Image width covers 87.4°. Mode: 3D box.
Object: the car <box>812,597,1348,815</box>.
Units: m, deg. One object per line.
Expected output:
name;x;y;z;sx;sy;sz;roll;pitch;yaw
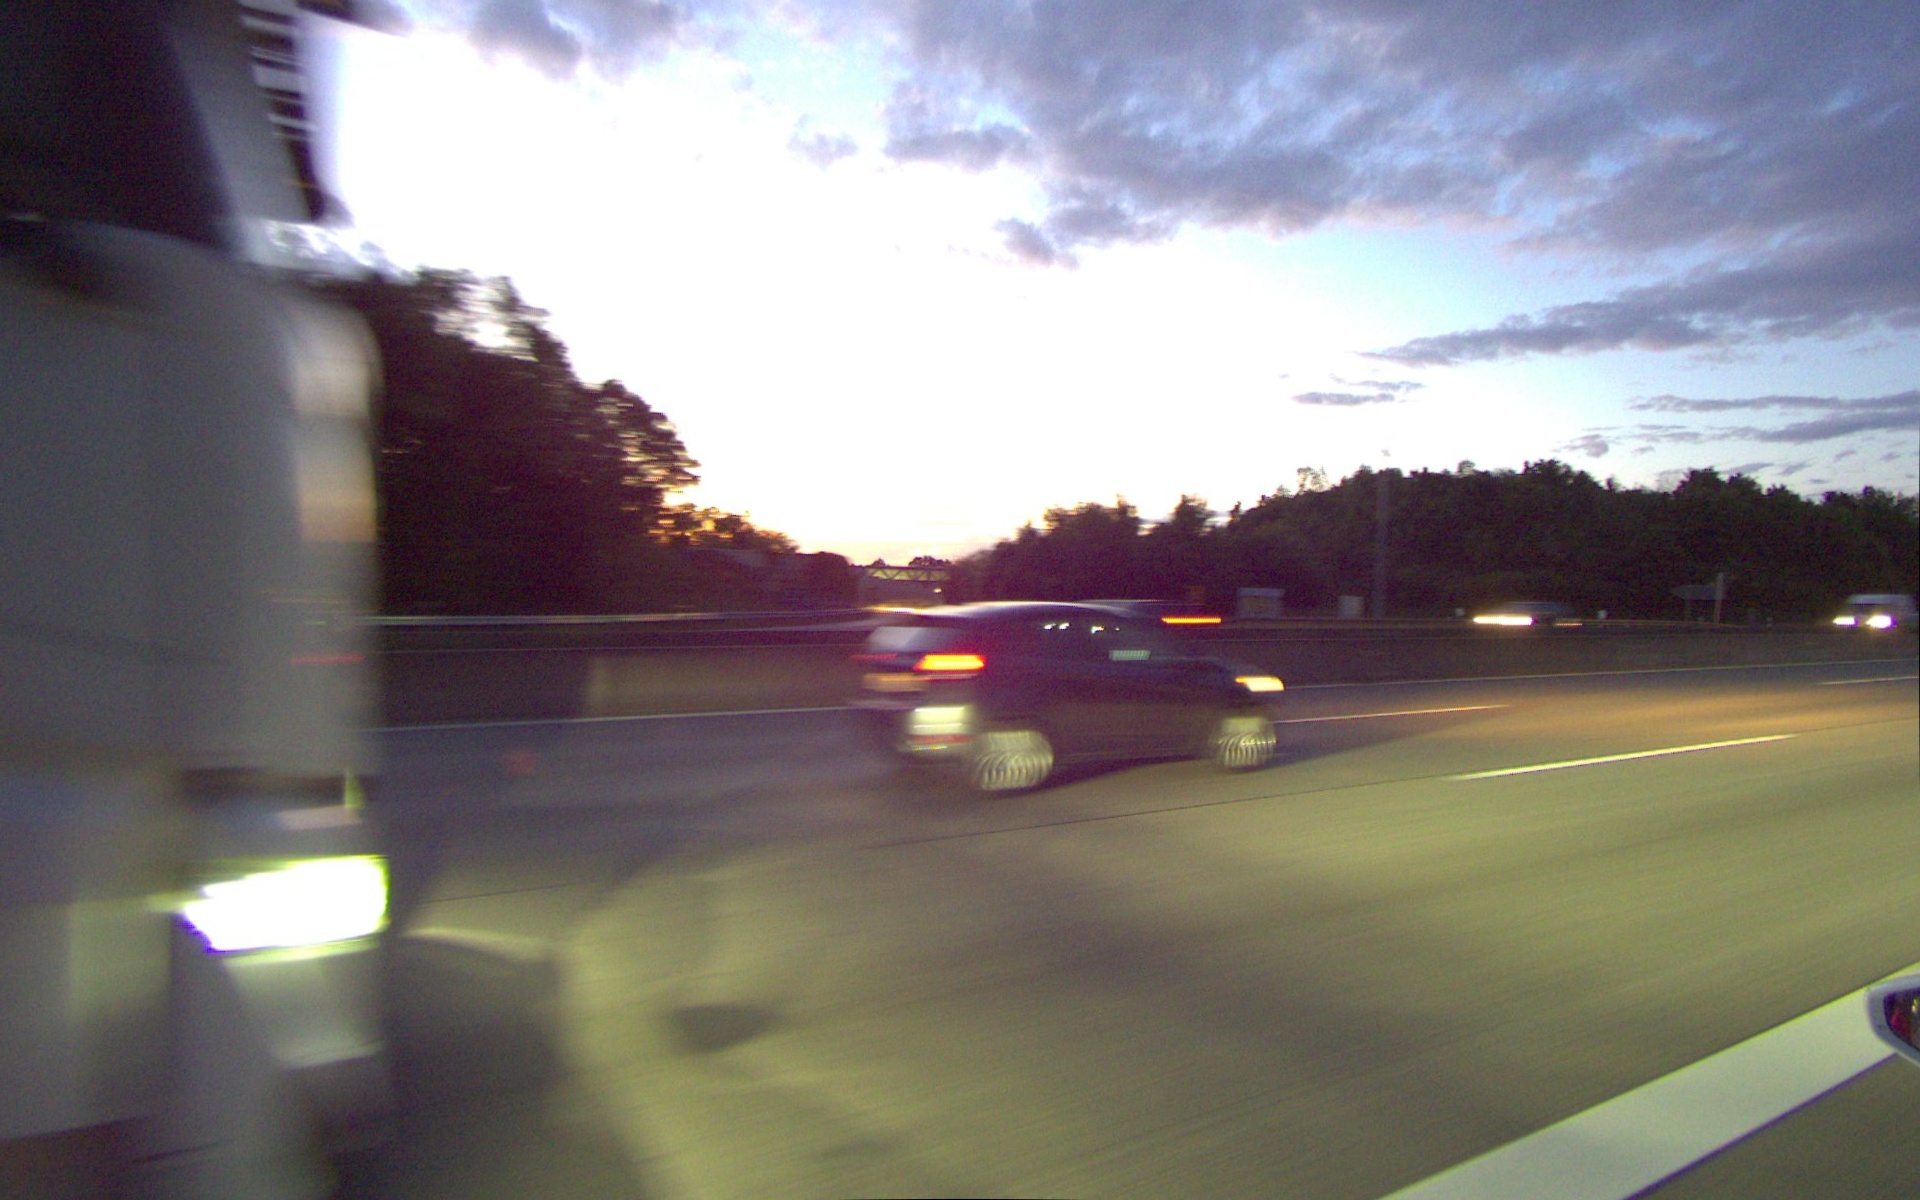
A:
car;1.146;0.767;8.997;4.495;1.518;1.984;1;0;-30

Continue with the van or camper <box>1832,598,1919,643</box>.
van or camper;55.773;1.258;60.954;6.415;2.629;2.503;1;0;-31

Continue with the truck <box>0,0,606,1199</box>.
truck;-3.978;-0.537;1.582;6.082;3.954;2.766;1;-1;-30

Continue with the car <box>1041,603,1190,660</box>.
car;4.566;0.894;29.352;3.953;1.567;1.984;1;0;-30

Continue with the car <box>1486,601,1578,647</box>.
car;26.683;1.110;46.827;4.192;2.040;2.016;1;0;-32
